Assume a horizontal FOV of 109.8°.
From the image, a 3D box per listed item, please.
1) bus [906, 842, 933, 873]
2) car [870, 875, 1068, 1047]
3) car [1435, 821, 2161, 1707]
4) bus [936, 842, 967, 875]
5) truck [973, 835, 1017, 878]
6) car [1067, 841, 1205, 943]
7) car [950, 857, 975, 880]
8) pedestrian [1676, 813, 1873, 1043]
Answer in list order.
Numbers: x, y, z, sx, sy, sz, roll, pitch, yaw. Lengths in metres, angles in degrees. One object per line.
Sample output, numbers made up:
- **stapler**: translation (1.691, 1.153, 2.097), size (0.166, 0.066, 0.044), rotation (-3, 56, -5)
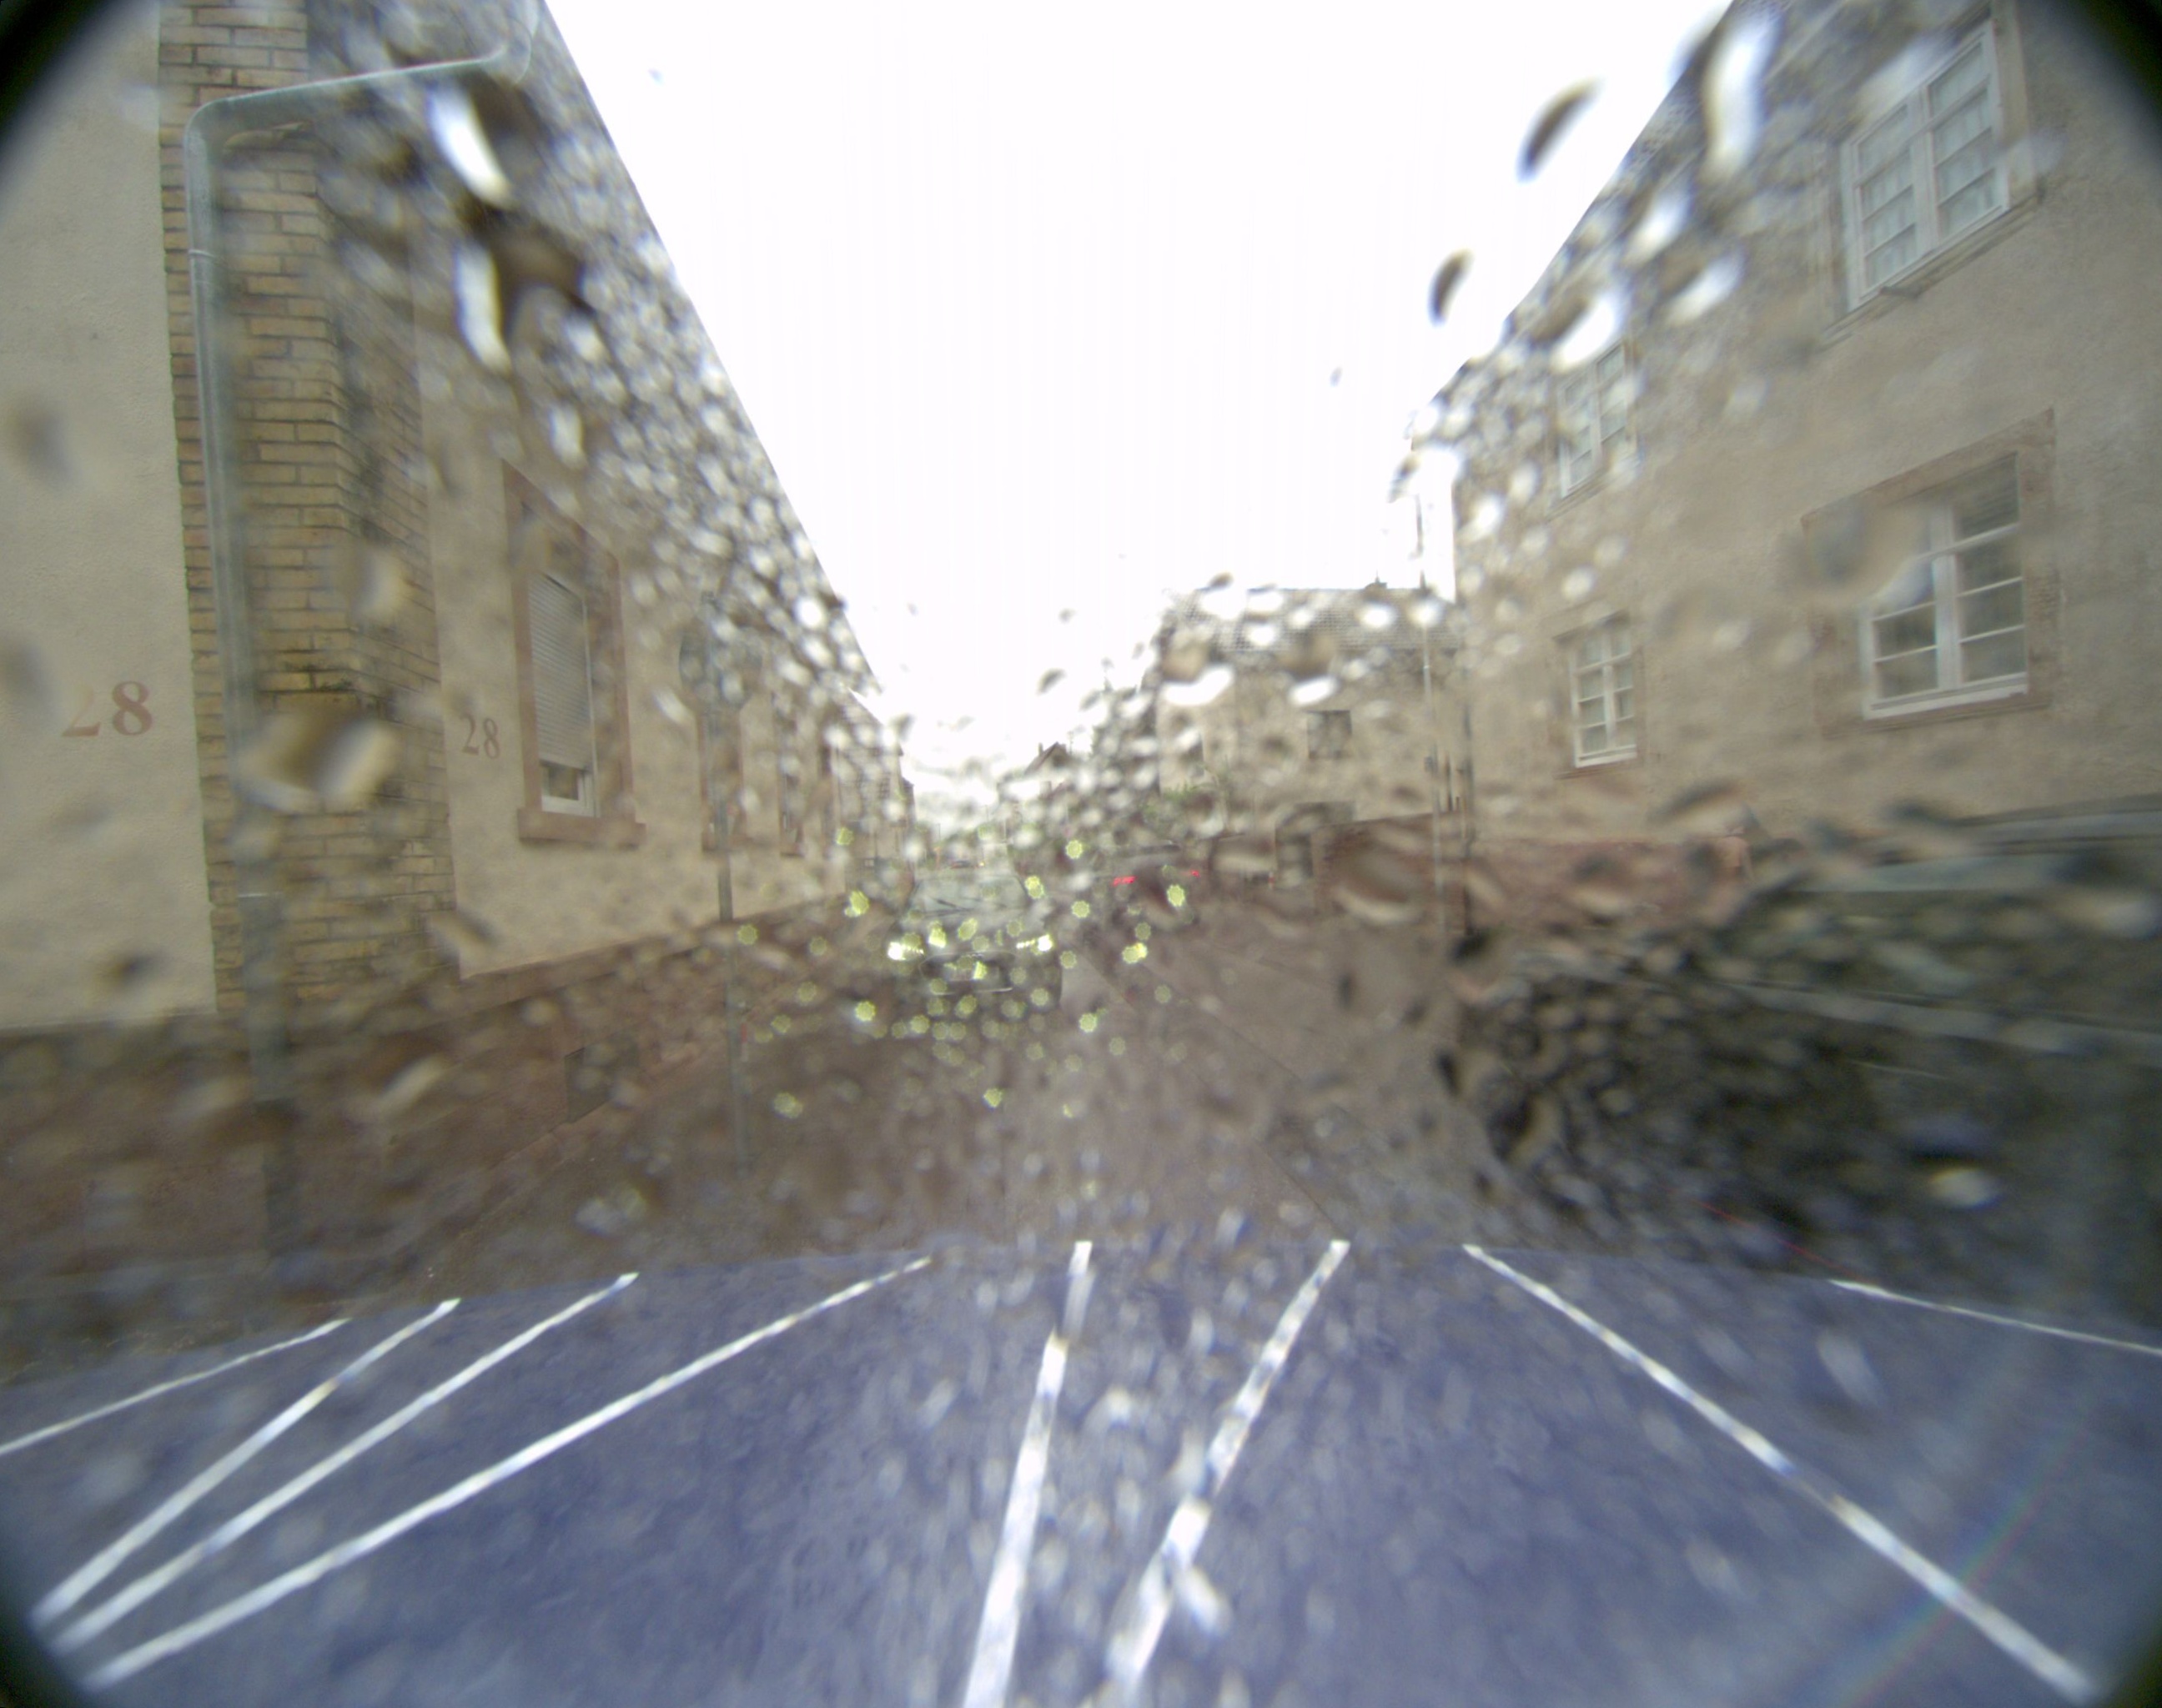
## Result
- **bus**: translation (-18.222, 0.337, 85.718), size (2.670, 3.213, 12.178), rotation (-2, 1, -12)
- **car**: translation (-1.326, 1.019, 8.980), size (1.740, 1.363, 4.098), rotation (-2, 0, -9)
- **car**: translation (2.667, 0.738, 1.632), size (1.627, 1.502, 3.790), rotation (-6, 1, -6)
- **bus**: translation (-14.079, 0.403, 81.989), size (2.670, 3.213, 12.178), rotation (-2, 1, -12)
- **truck**: translation (-5.557, 0.156, 48.482), size (2.001, 2.490, 5.643), rotation (-2, 1, -14)
- **car**: translation (0.943, 0.634, 15.626), size (1.786, 1.655, 4.422), rotation (-5, 2, -8)
- **car**: translation (-10.226, 1.199, 65.221), size (1.804, 1.805, 3.995), rotation (-2, 1, -13)
- **pedestrian**: translation (5.108, 0.508, 5.644), size (0.574, 1.529, 0.832), rotation (-5, 1, -12)
